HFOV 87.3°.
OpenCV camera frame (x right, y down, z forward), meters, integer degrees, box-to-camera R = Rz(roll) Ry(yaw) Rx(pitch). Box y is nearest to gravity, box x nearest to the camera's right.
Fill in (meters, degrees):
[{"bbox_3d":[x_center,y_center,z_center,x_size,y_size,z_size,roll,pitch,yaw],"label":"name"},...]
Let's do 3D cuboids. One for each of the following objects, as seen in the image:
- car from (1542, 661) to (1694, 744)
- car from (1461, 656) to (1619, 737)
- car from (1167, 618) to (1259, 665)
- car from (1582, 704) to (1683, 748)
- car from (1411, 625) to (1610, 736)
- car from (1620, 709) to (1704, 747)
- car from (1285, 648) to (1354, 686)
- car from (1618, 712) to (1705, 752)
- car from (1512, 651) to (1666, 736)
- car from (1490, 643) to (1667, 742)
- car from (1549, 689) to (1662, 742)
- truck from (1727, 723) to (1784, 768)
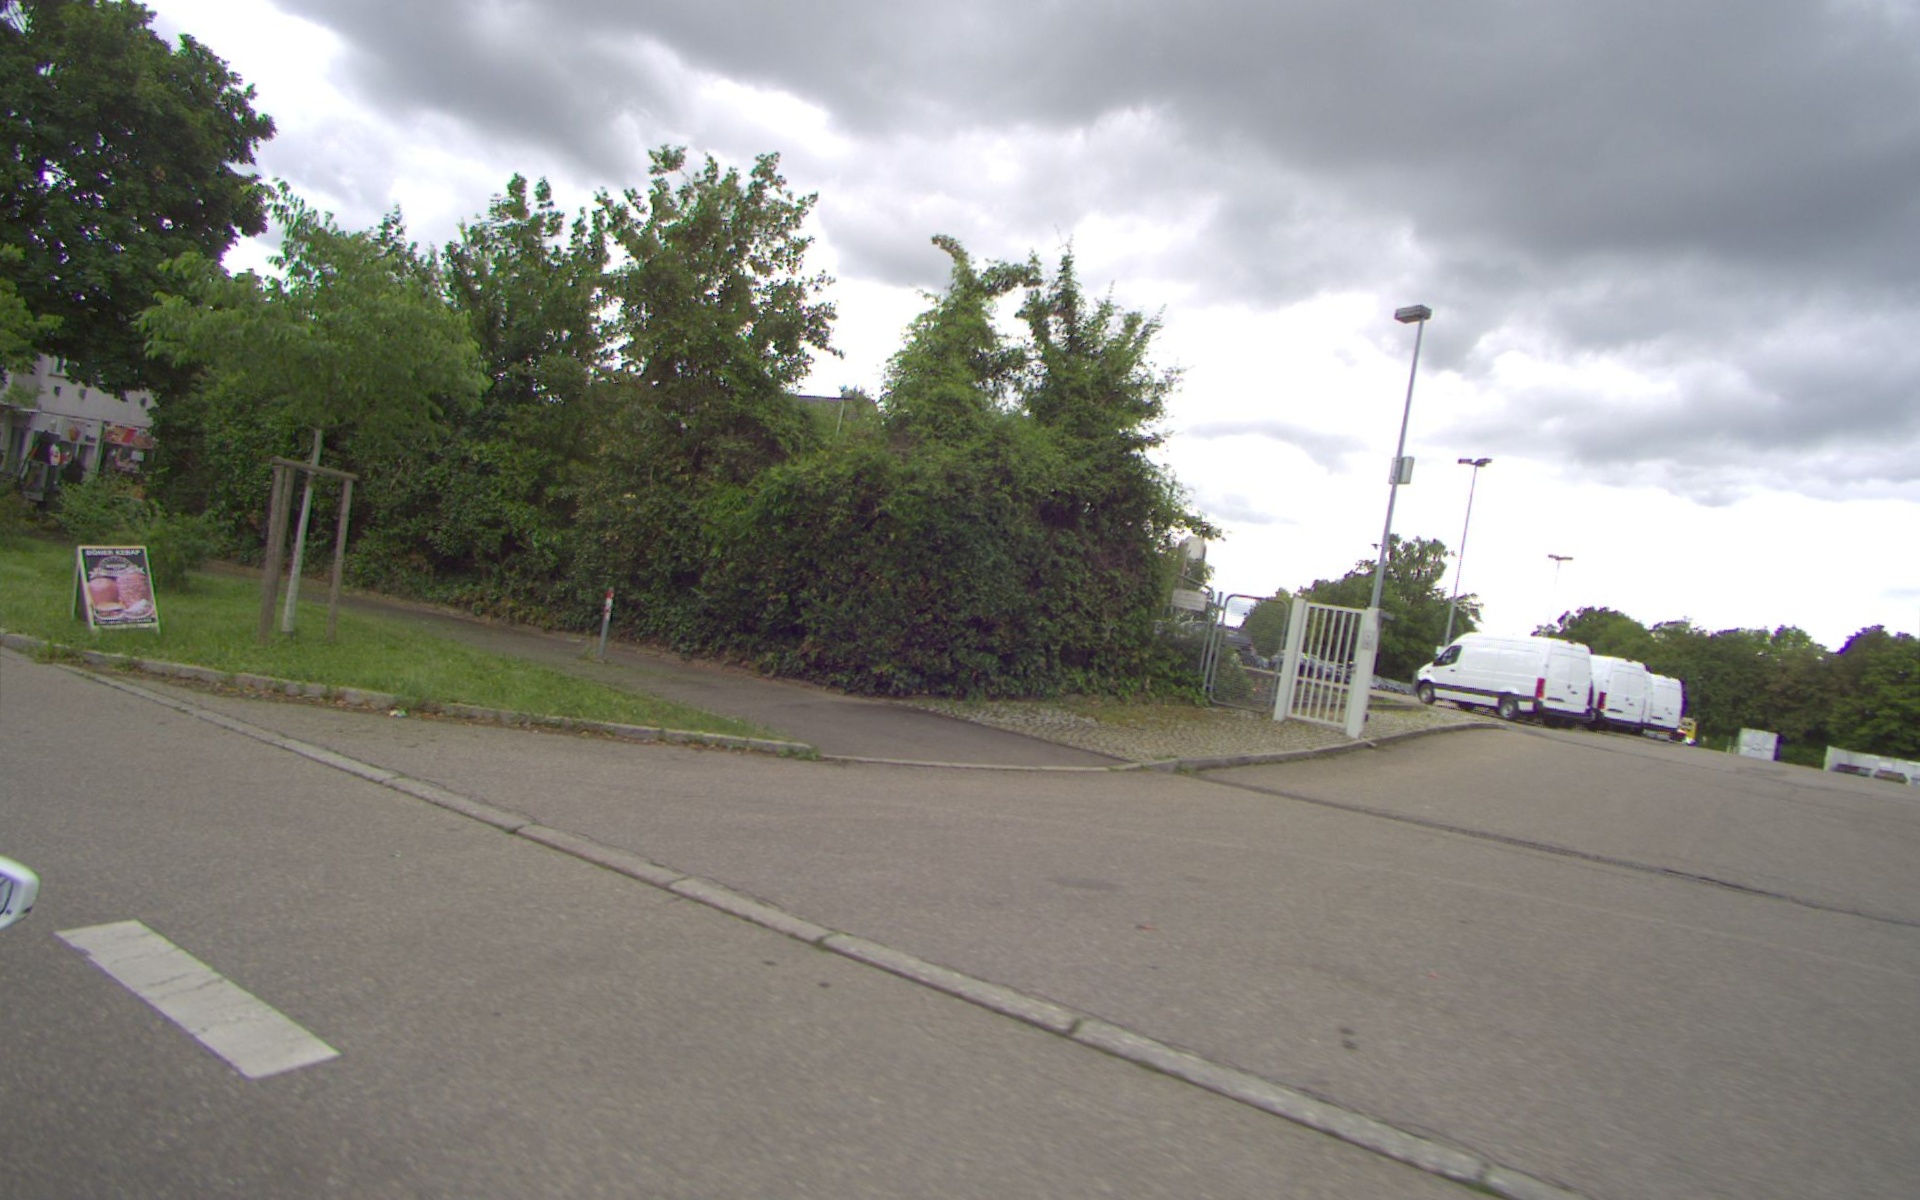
[{"bbox_3d":[29.056,4.469,44.712,2.225,2.709,5.438,9,0,-9],"label":"car"},{"bbox_3d":[19.950,3.277,34.880,2.033,1.979,4.487,9,0,-12],"label":"car"},{"bbox_3d":[13.075,2.134,52.064,3.993,1.770,1.929,9,-2,-13],"label":"car"},{"bbox_3d":[43.914,8.196,65.853,2.224,1.839,5.438,7,1,-9],"label":"car"},{"bbox_3d":[17.658,2.481,32.698,2.228,2.709,5.431,9,0,-15],"label":"car"},{"bbox_3d":[57.594,10.488,82.676,2.225,2.053,5.438,9,0,-9],"label":"car"},{"bbox_3d":[20.322,3.750,57.028,1.900,1.770,4.055,8,-2,-6],"label":"car"},{"bbox_3d":[55.122,10.353,79.179,2.225,2.053,5.438,9,0,-9],"label":"car"},{"bbox_3d":[26.708,3.882,43.015,2.225,2.709,5.438,9,0,-9],"label":"car"},{"bbox_3d":[22.527,3.270,37.009,2.225,2.709,5.438,9,0,-9],"label":"car"},{"bbox_3d":[37.318,6.643,58.407,2.225,2.053,5.438,9,0,-9],"label":"car"},{"bbox_3d":[85.457,15.691,107.967,3.621,3.828,10.839,6,-3,43],"label":"truck"}]
